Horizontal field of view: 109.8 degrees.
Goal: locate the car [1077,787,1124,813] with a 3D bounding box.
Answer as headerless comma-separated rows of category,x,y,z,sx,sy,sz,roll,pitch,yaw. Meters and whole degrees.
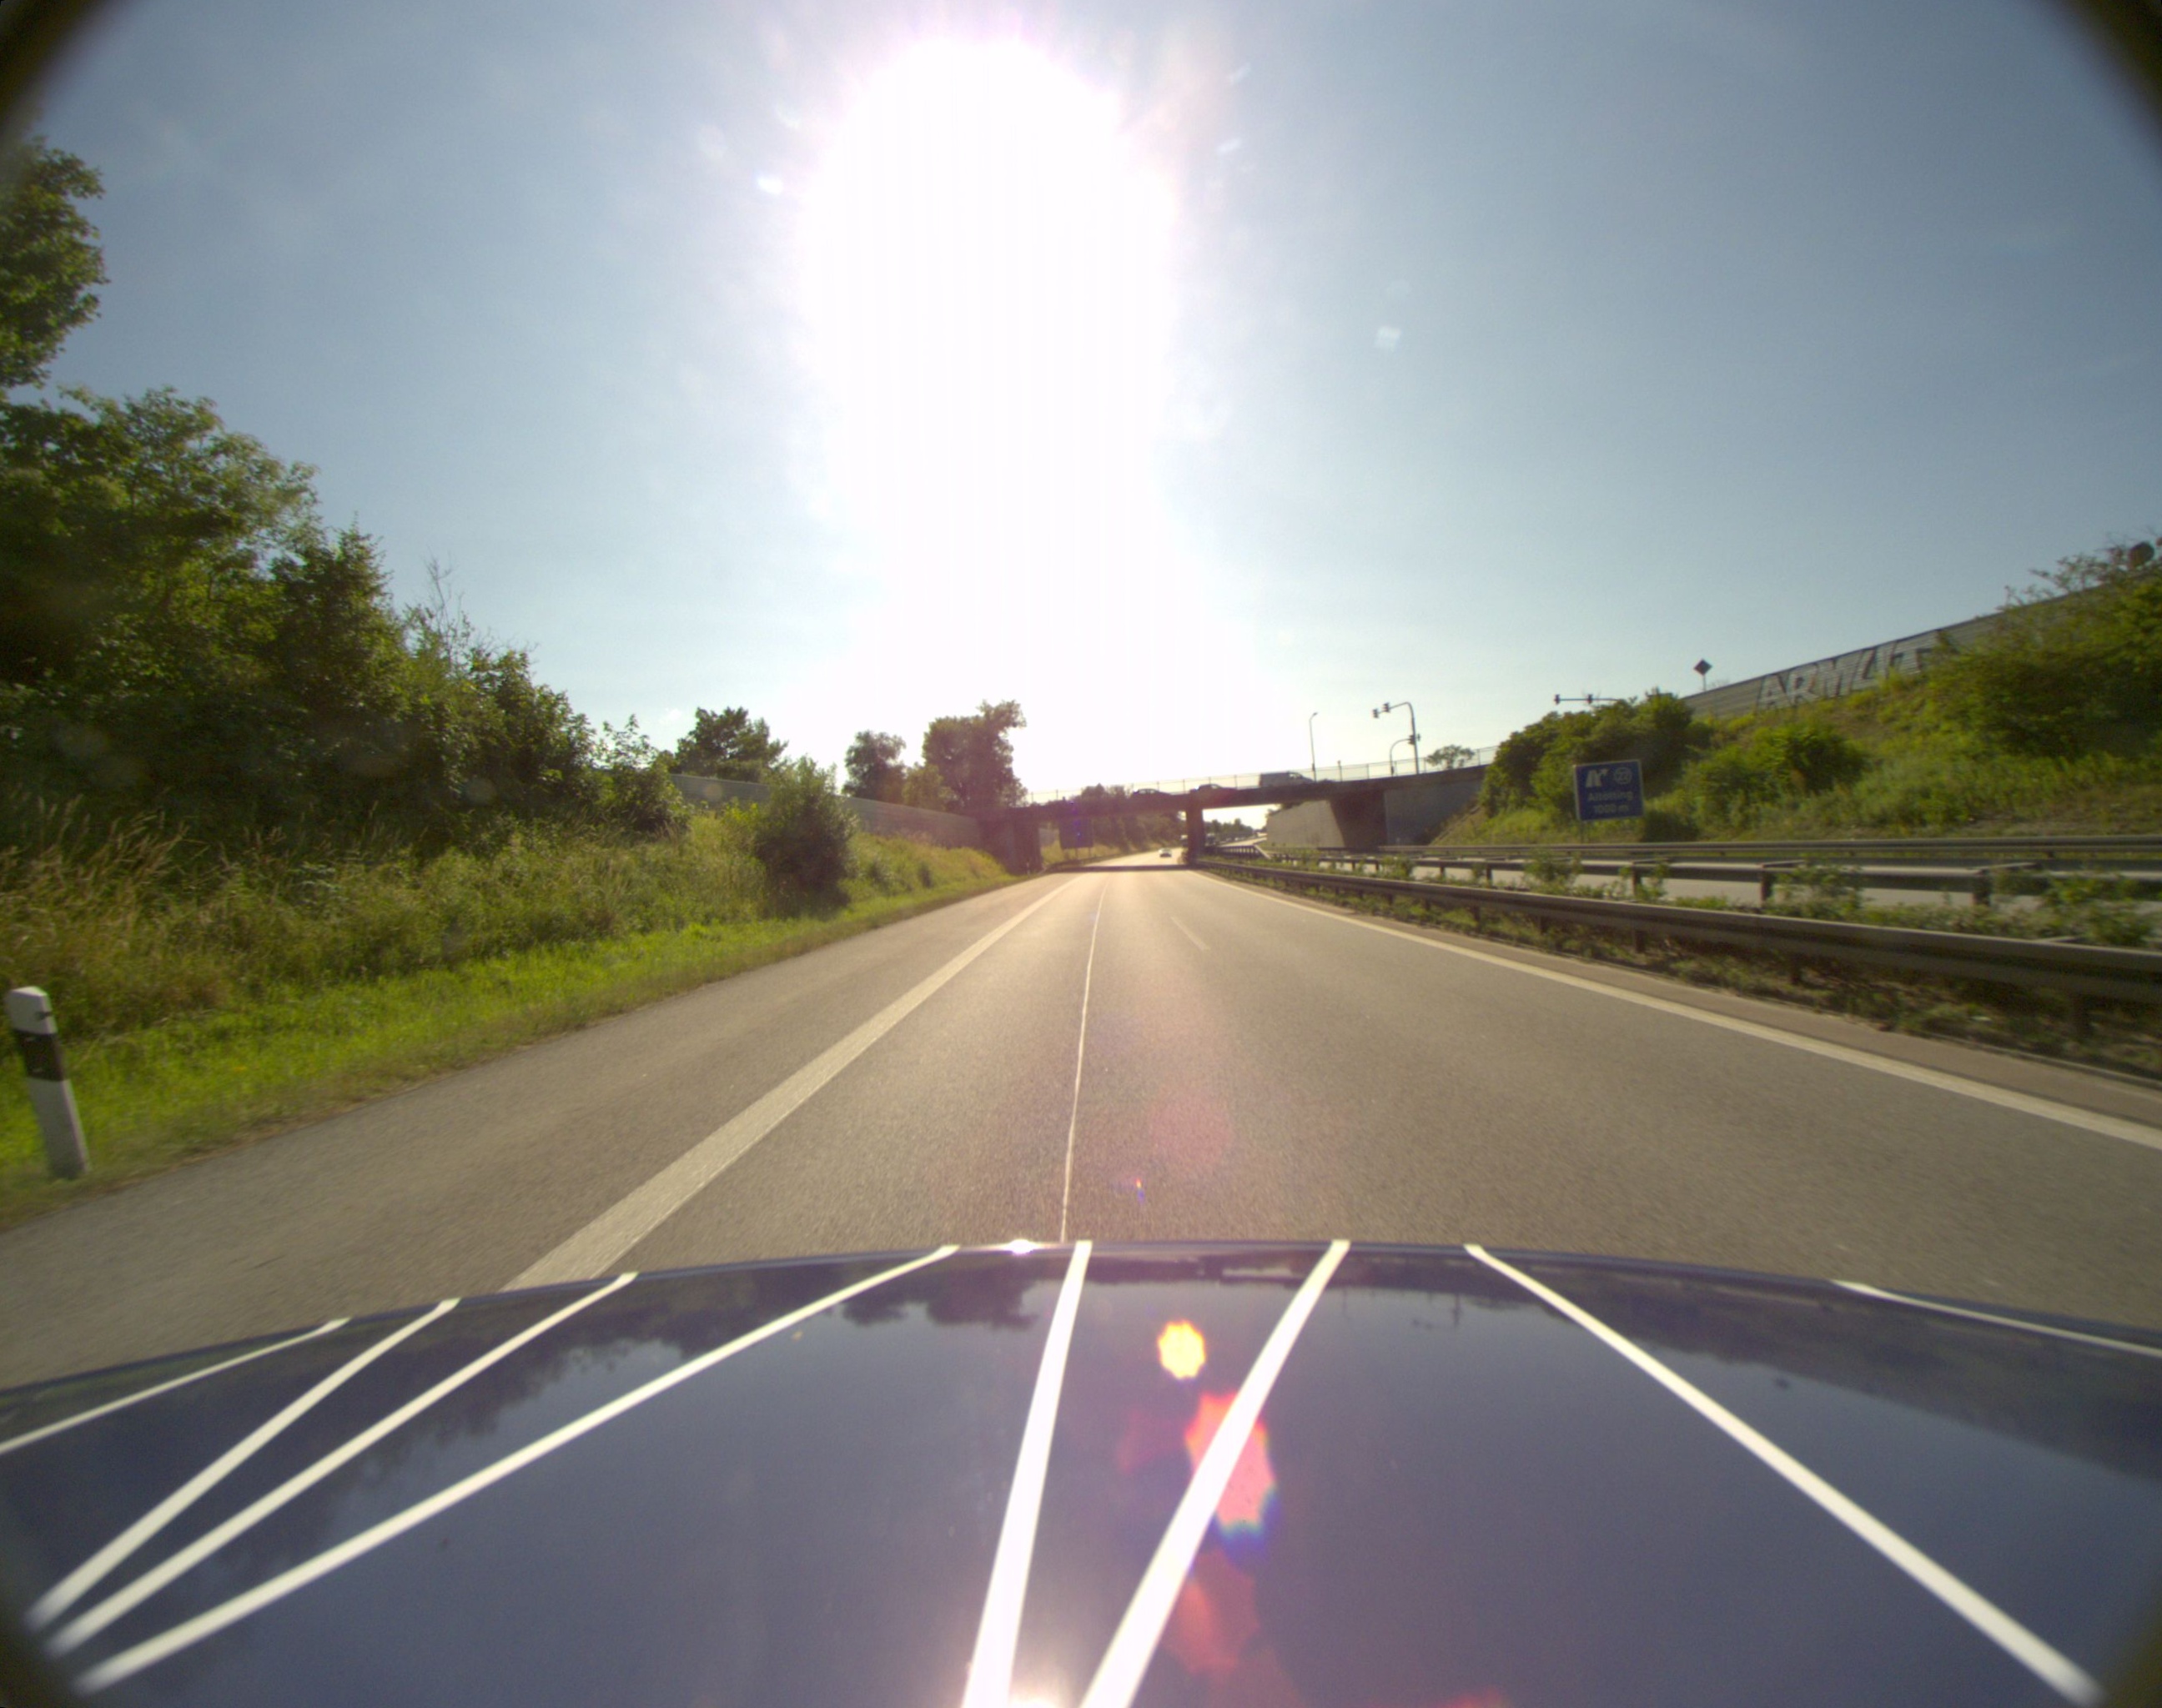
car,1.805,-4.808,68.335,3.995,2.088,1.740,-2,2,7

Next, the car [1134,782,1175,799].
car,6.982,-6.038,72.386,3.842,1.298,1.824,-2,2,5

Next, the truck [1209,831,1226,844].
truck,46.911,-5.763,261.121,3.429,4.188,12.100,-2,1,21

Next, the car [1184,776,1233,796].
car,12.046,-6.390,71.924,4.438,1.547,1.907,-2,2,5

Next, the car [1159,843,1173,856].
car,13.622,-0.679,121.531,1.997,2.002,4.601,0,1,7

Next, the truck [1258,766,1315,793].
truck,19.186,-6.918,71.111,4.866,2.155,2.000,-2,2,6

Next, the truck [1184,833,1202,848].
truck,33.186,-3.991,224.689,3.430,4.188,12.097,-2,1,17
